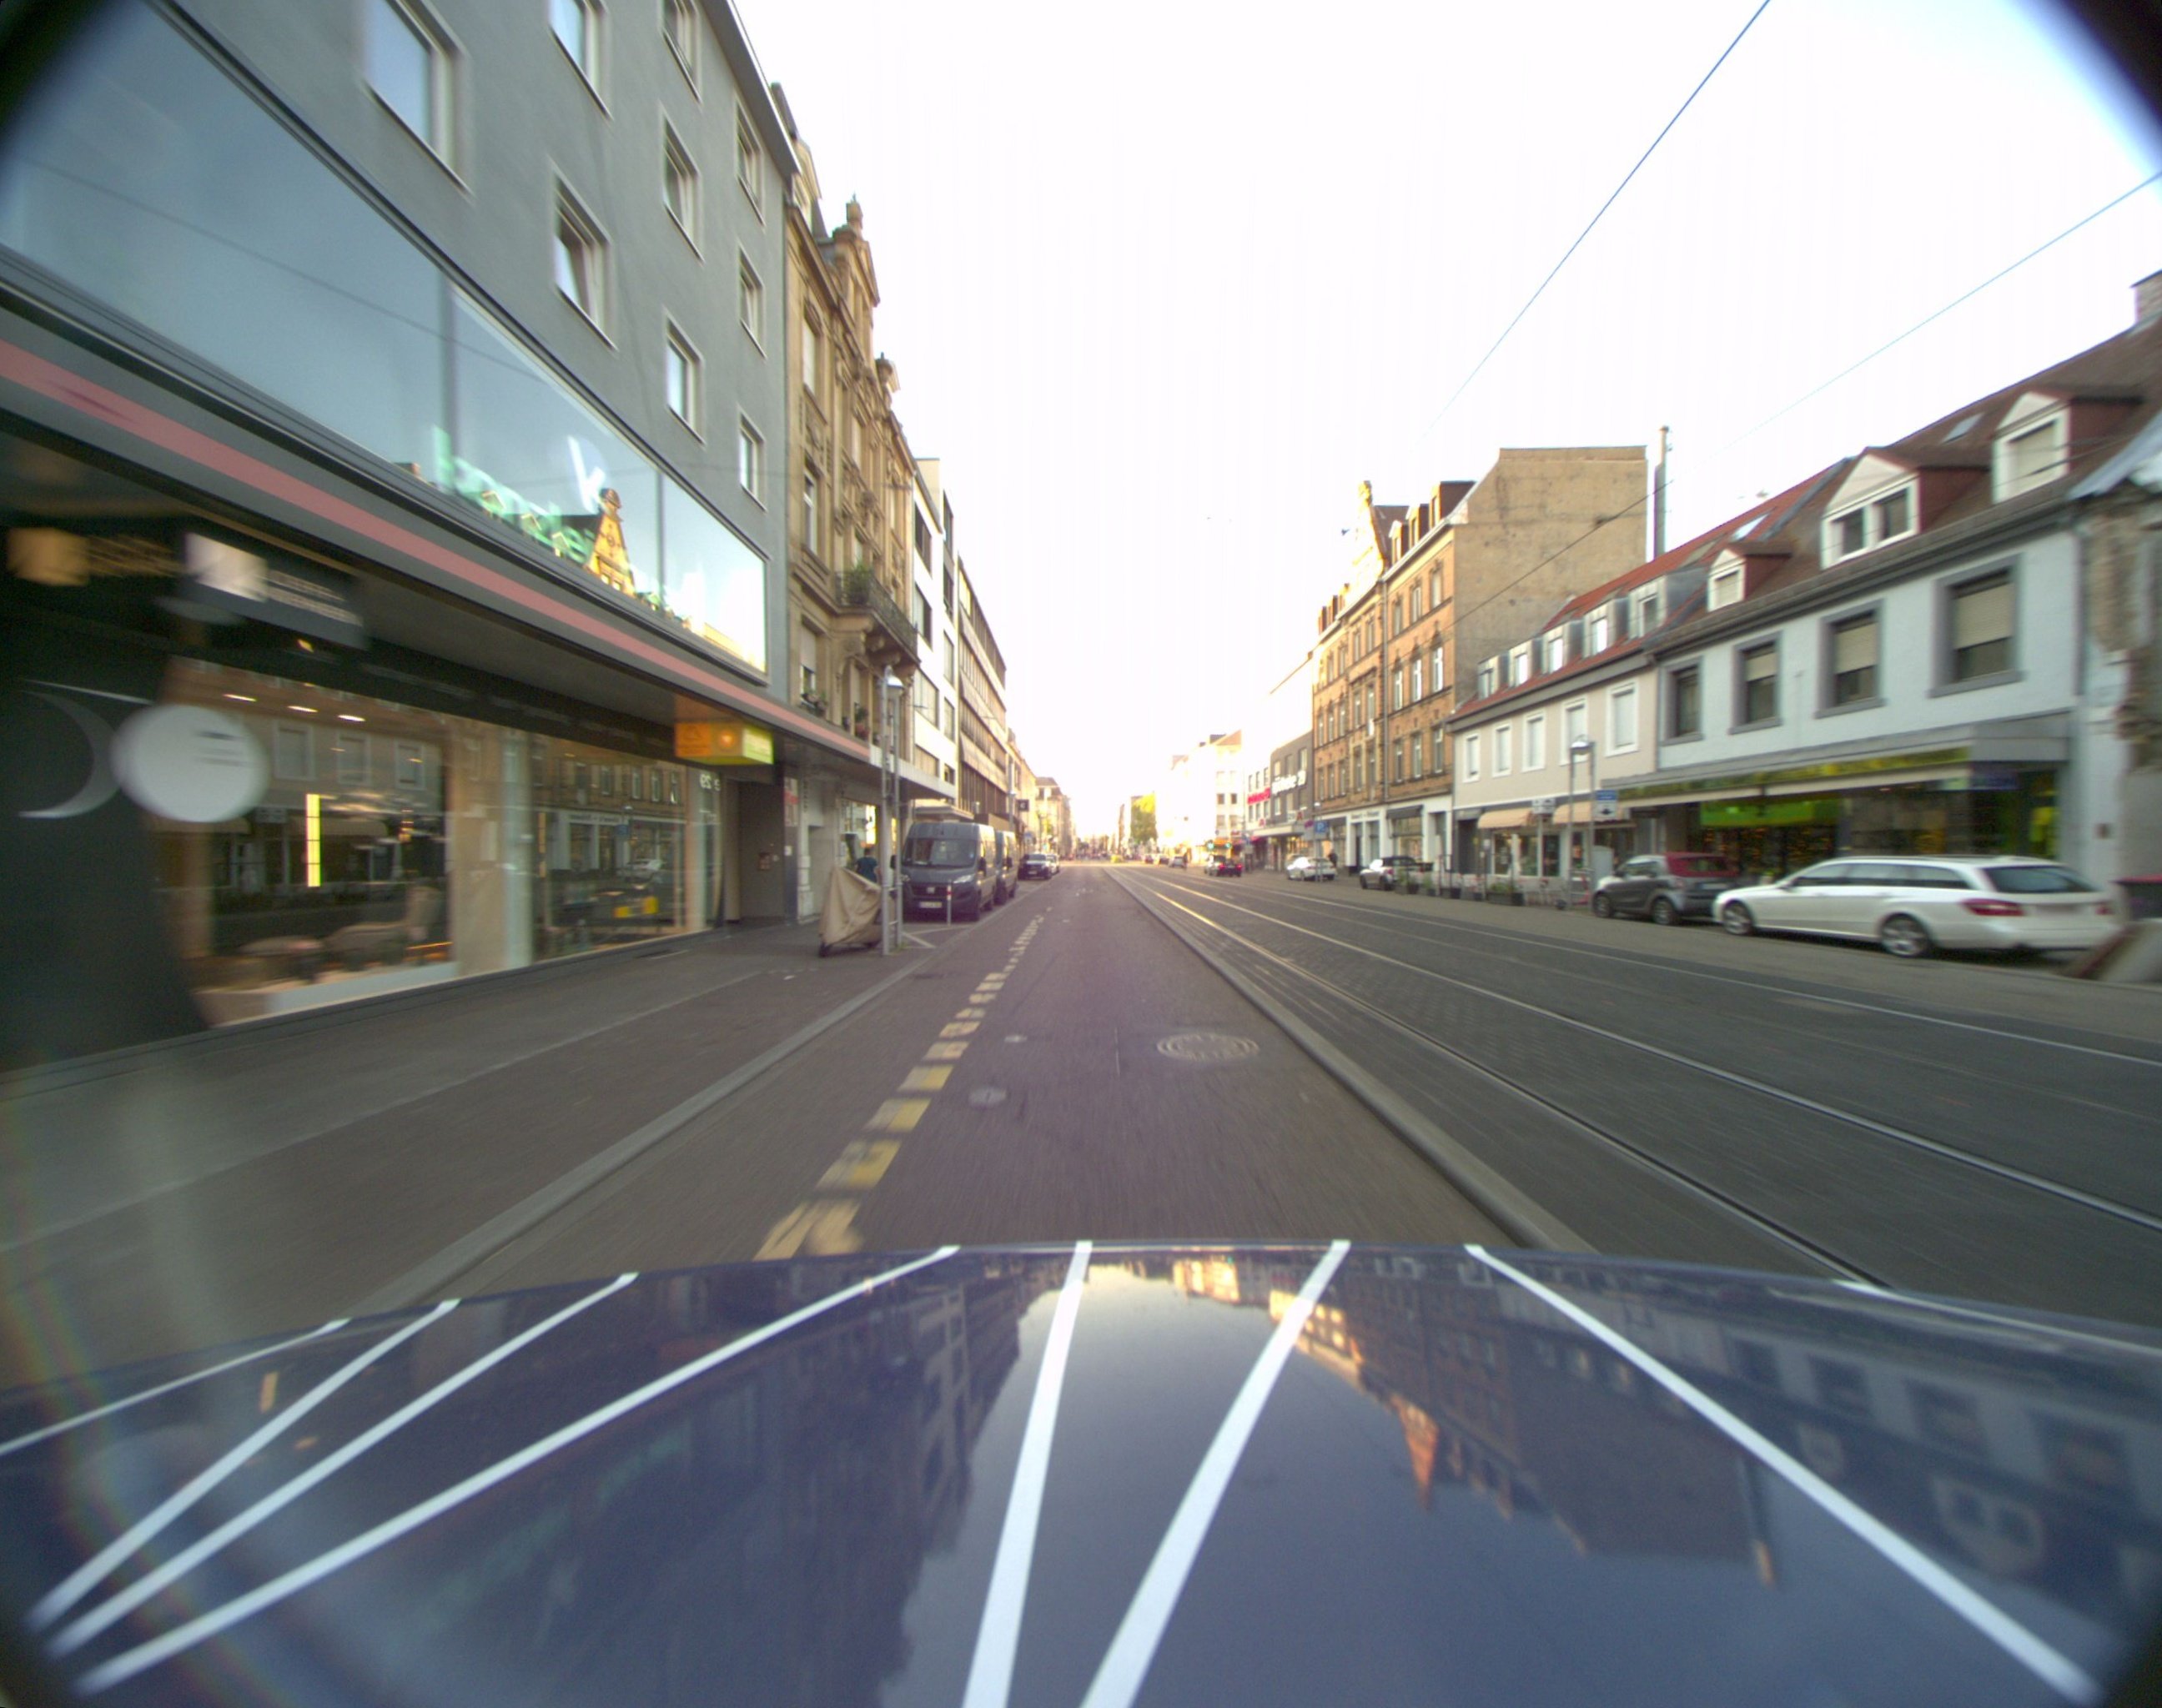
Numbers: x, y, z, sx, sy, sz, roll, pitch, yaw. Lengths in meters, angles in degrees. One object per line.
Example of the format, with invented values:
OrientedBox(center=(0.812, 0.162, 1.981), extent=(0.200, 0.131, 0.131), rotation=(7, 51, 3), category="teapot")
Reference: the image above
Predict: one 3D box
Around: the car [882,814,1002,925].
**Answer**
OrientedBox(center=(-3.417, 0.318, 19.923), extent=(2.080, 2.434, 5.603), rotation=(-2, 1, -1), category="car")

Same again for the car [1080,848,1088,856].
OrientedBox(center=(0.683, -0.477, 174.691), extent=(1.572, 1.781, 3.664), rotation=(-2, 1, -1), category="car")

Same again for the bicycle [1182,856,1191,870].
OrientedBox(center=(9.751, 0.800, 70.043), extent=(0.493, 1.183, 2.265), rotation=(-2, 1, 0), category="bicycle")

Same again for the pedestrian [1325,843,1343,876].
OrientedBox(center=(15.801, 0.317, 47.460), extent=(0.748, 2.002, 1.049), rotation=(-2, 1, 5), category="pedestrian")

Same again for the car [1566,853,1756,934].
OrientedBox(center=(12.953, 0.804, 17.249), extent=(1.660, 1.562, 3.470), rotation=(-2, 1, 1), category="car")

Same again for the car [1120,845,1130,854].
OrientedBox(center=(10.341, -0.979, 177.336), extent=(1.999, 2.002, 3.999), rotation=(-2, 1, 0), category="car")

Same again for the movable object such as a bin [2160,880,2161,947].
OrientedBox(center=(17.150, 0.924, 11.503), extent=(0.684, 1.039, 0.657), rotation=(-2, 1, 5), category="movable object such as a bin")

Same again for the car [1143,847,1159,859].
OrientedBox(center=(10.522, -0.174, 114.914), extent=(1.999, 1.685, 3.999), rotation=(-2, 1, 0), category="car")

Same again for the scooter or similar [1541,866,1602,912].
OrientedBox(center=(13.074, 0.932, 20.250), extent=(1.365, 1.161, 0.311), rotation=(-2, 1, 3), category="scooter or similar")

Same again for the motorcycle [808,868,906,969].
OrientedBox(center=(-3.542, 0.957, 12.324), extent=(0.785, 1.396, 2.637), rotation=(1, 0, 0), category="motorcycle")

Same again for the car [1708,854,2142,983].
OrientedBox(center=(12.942, 0.843, 12.245), extent=(1.896, 1.547, 4.622), rotation=(-2, 1, 1), category="car")

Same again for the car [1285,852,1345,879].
OrientedBox(center=(13.723, 0.643, 44.809), extent=(1.999, 1.412, 4.402), rotation=(-2, 1, -2), category="car")

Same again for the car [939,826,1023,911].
OrientedBox(center=(-3.295, 0.398, 26.241), extent=(1.998, 2.559, 5.604), rotation=(-2, 1, 1), category="car")

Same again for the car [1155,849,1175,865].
OrientedBox(center=(10.797, 0.386, 98.036), extent=(1.999, 1.830, 3.999), rotation=(-2, 2, 0), category="car")

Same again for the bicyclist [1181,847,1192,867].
OrientedBox(center=(9.743, 0.312, 69.994), extent=(0.882, 1.795, 0.900), rotation=(-2, 1, 1), category="bicyclist")

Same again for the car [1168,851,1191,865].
OrientedBox(center=(10.976, 0.395, 84.936), extent=(1.999, 1.434, 3.999), rotation=(-2, 1, 0), category="car")

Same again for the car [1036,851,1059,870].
OrientedBox(center=(-3.019, 0.569, 68.703), extent=(1.899, 1.557, 3.534), rotation=(-3, 0, -2), category="car")

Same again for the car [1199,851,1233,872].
OrientedBox(center=(11.009, 0.577, 62.285), extent=(1.999, 1.544, 3.999), rotation=(-2, 1, 0), category="car")

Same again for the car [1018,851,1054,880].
OrientedBox(center=(-2.832, 0.718, 48.614), extent=(1.999, 1.663, 3.876), rotation=(-2, 1, 0), category="car")

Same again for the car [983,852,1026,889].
OrientedBox(center=(-3.608, 0.737, 36.402), extent=(1.639, 1.642, 3.845), rotation=(0, 0, 1), category="car")

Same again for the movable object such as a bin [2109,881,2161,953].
OrientedBox(center=(16.435, 0.951, 11.560), extent=(0.684, 1.039, 0.657), rotation=(0, 1, 5), category="movable object such as a bin")

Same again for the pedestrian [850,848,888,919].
OrientedBox(center=(-5.426, 0.738, 19.450), extent=(0.743, 1.746, 0.789), rotation=(2, 1, -3), category="pedestrian")

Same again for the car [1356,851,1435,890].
OrientedBox(center=(13.465, 0.648, 32.811), extent=(1.846, 1.484, 3.815), rotation=(-2, 1, 1), category="car")

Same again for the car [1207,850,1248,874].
OrientedBox(center=(10.284, 0.527, 53.610), extent=(1.999, 1.554, 3.999), rotation=(-2, 1, 0), category="car")

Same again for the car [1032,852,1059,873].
OrientedBox(center=(-2.878, 0.669, 61.707), extent=(1.999, 1.538, 3.876), rotation=(-2, 0, -1), category="car")
